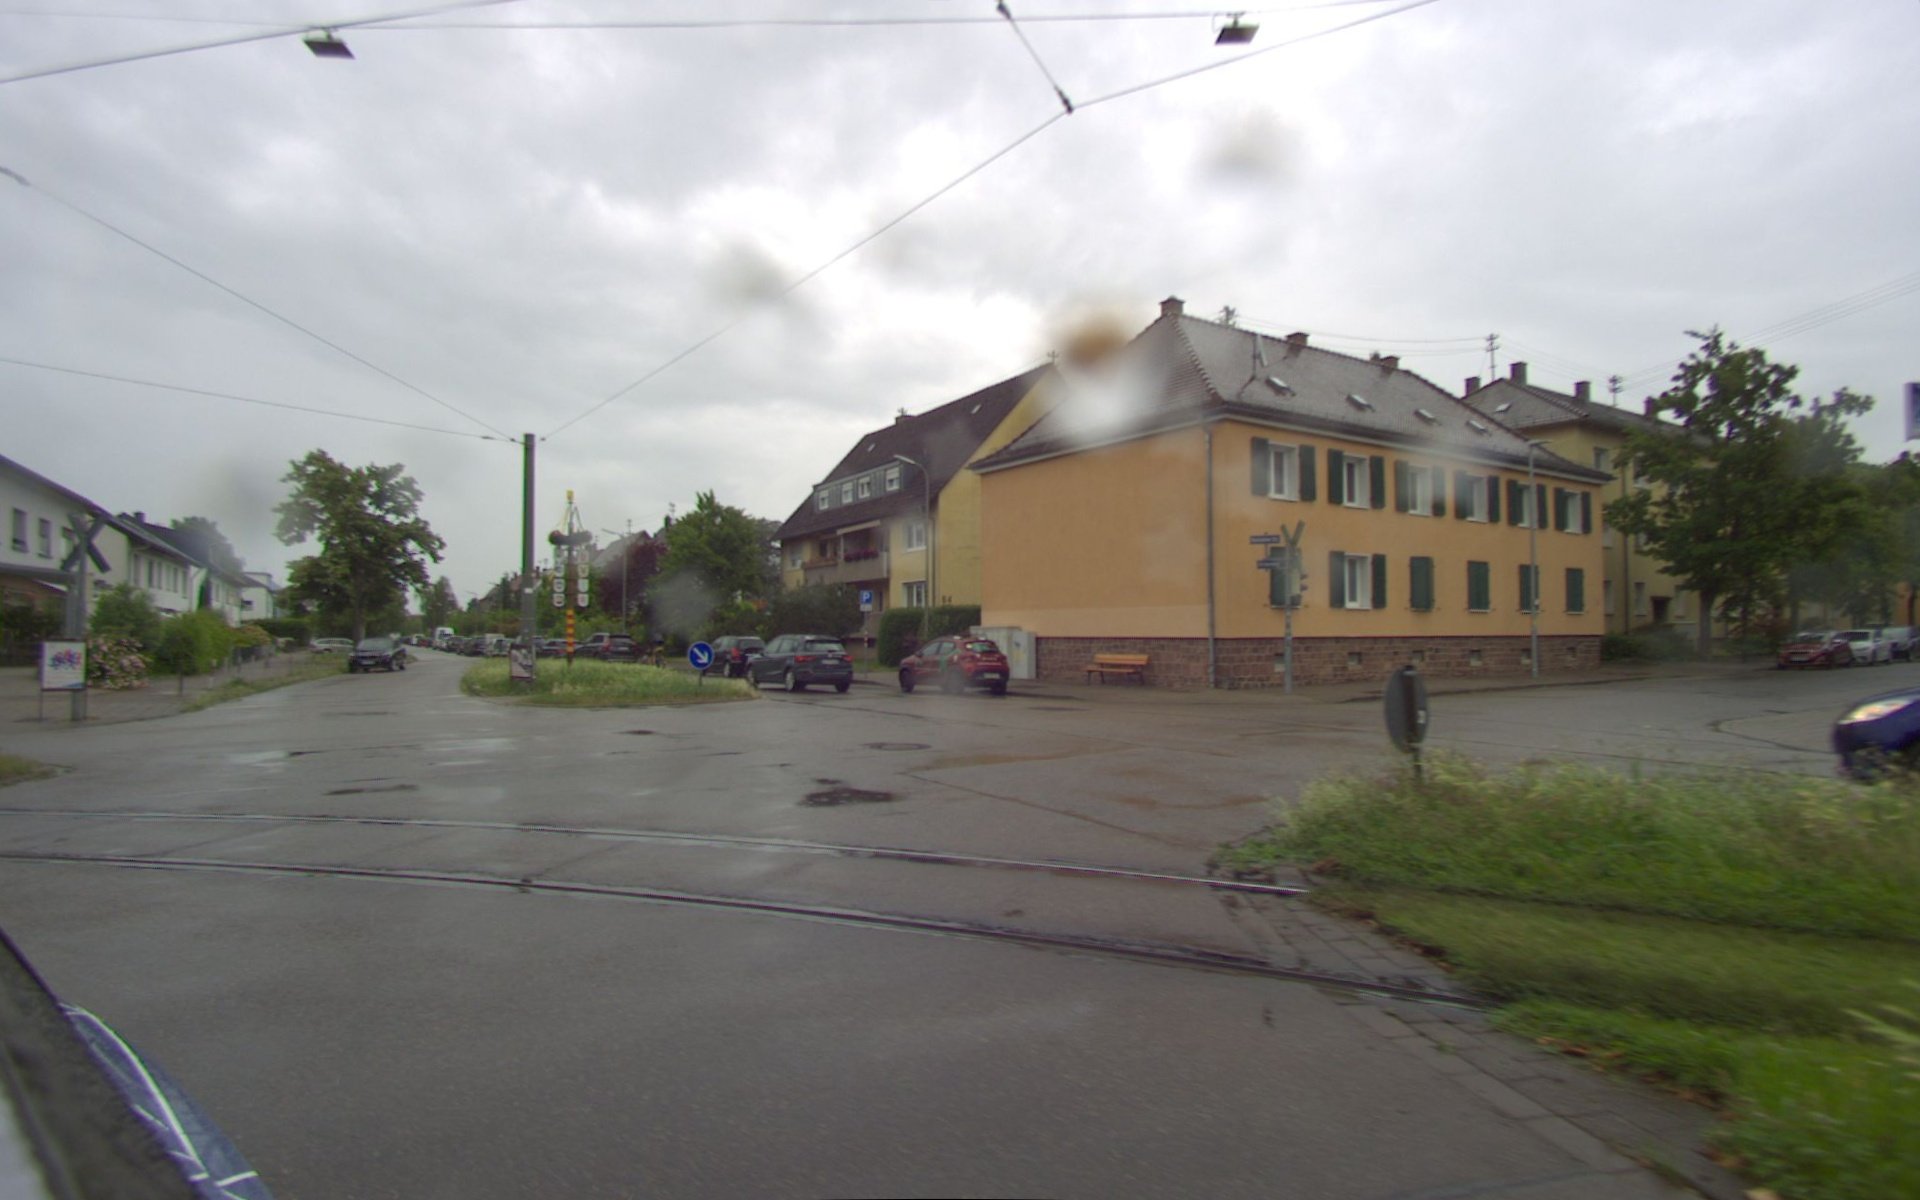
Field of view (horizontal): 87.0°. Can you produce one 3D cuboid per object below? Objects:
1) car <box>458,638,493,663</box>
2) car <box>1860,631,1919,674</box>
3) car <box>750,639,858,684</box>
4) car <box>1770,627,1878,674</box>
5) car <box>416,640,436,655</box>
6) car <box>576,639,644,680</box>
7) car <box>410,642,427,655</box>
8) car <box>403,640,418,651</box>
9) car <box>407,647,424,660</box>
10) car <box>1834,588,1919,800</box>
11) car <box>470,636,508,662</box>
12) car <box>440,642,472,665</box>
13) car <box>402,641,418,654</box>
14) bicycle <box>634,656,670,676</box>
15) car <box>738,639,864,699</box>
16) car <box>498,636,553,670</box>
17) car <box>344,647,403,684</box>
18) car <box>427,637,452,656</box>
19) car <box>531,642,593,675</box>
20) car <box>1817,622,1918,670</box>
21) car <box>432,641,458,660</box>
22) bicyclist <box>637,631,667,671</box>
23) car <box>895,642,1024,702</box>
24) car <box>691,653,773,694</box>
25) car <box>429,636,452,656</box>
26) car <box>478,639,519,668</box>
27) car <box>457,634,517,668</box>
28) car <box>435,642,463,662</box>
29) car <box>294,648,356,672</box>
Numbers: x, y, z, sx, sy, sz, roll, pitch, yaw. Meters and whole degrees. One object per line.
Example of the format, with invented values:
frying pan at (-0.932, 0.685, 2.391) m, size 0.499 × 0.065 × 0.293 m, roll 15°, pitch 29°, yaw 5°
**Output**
car at (-38.259, 3.935, 79.912) m, size 1.966 × 1.807 × 4.011 m, roll 1°, pitch -1°, yaw -33°
car at (40.420, 2.214, 43.213) m, size 3.933 × 1.763 × 2.005 m, roll 2°, pitch -3°, yaw -34°
car at (-5.389, 2.049, 34.568) m, size 1.934 × 1.407 × 4.517 m, roll 1°, pitch -2°, yaw -34°
car at (31.535, 1.816, 36.914) m, size 3.933 × 1.630 × 2.005 m, roll 2°, pitch -3°, yaw -34°
car at (-71.139, 6.322, 134.725) m, size 1.966 × 1.807 × 4.011 m, roll 1°, pitch -1°, yaw -33°
car at (-17.480, 2.935, 50.457) m, size 1.968 × 1.807 × 4.008 m, roll 1°, pitch -1°, yaw -39°
car at (-80.528, 7.230, 150.493) m, size 1.966 × 1.807 × 4.011 m, roll 1°, pitch -1°, yaw -33°
car at (-93.252, 7.710, 171.692) m, size 1.966 × 1.807 × 4.011 m, roll 1°, pitch -1°, yaw -33°
car at (-83.183, 8.122, 154.557) m, size 1.966 × 1.807 × 4.011 m, roll 1°, pitch -1°, yaw -33°
car at (9.124, 0.726, 6.790) m, size 1.966 × 1.617 × 4.585 m, roll 1°, pitch -1°, yaw -33°
car at (-35.147, 3.621, 75.509) m, size 1.966 × 1.807 × 4.011 m, roll 1°, pitch -1°, yaw -33°
car at (-44.265, 4.680, 88.845) m, size 1.966 × 1.807 × 4.011 m, roll 1°, pitch -1°, yaw -33°
car at (-90.223, 7.782, 166.076) m, size 1.966 × 1.807 × 4.011 m, roll 1°, pitch -1°, yaw -33°
bicycle at (-12.740, 2.737, 41.817) m, size 0.926 × 0.792 × 1.824 m, roll 1°, pitch -4°, yaw -33°
car at (-4.443, 1.845, 27.783) m, size 1.966 × 1.487 × 4.011 m, roll 1°, pitch -3°, yaw -33°
car at (-25.647, 3.071, 59.670) m, size 1.968 × 1.807 × 4.008 m, roll 1°, pitch -1°, yaw -39°
car at (-27.154, 2.997, 46.956) m, size 1.759 × 1.473 × 4.013 m, roll 1°, pitch -1°, yaw -22°
car at (-55.979, 4.993, 108.737) m, size 1.966 × 1.807 × 4.011 m, roll 1°, pitch -1°, yaw -33°
car at (-21.662, 3.127, 54.981) m, size 1.968 × 1.586 × 4.134 m, roll 1°, pitch -1°, yaw -39°
car at (35.311, 1.778, 39.377) m, size 3.933 × 1.763 × 2.005 m, roll 2°, pitch -3°, yaw -34°
car at (-52.778, 5.165, 103.665) m, size 1.914 × 1.708 × 4.011 m, roll 1°, pitch -1°, yaw -33°
bicyclist at (-12.709, 2.101, 41.801) m, size 0.934 × 1.610 × 1.045 m, roll 1°, pitch -4°, yaw -33°
car at (-0.086, 1.874, 27.069) m, size 1.694 × 1.349 × 3.626 m, roll 1°, pitch -1°, yaw -34°
car at (-8.959, 2.832, 39.558) m, size 1.730 × 1.342 × 4.010 m, roll 1°, pitch -1°, yaw -35°
car at (-59.037, 5.192, 114.968) m, size 1.966 × 2.049 × 4.012 m, roll 1°, pitch -1°, yaw -31°
car at (-31.398, 3.603, 68.805) m, size 1.966 × 1.807 × 4.011 m, roll 1°, pitch -1°, yaw -33°
car at (-21.999, 2.356, 46.976) m, size 1.966 × 1.487 × 4.011 m, roll 1°, pitch -3°, yaw -33°
car at (-50.321, 5.108, 99.592) m, size 1.966 × 1.807 × 4.011 m, roll 1°, pitch -1°, yaw -33°
car at (-48.663, 4.577, 77.598) m, size 3.933 × 1.695 × 2.005 m, roll 1°, pitch -1°, yaw -33°
